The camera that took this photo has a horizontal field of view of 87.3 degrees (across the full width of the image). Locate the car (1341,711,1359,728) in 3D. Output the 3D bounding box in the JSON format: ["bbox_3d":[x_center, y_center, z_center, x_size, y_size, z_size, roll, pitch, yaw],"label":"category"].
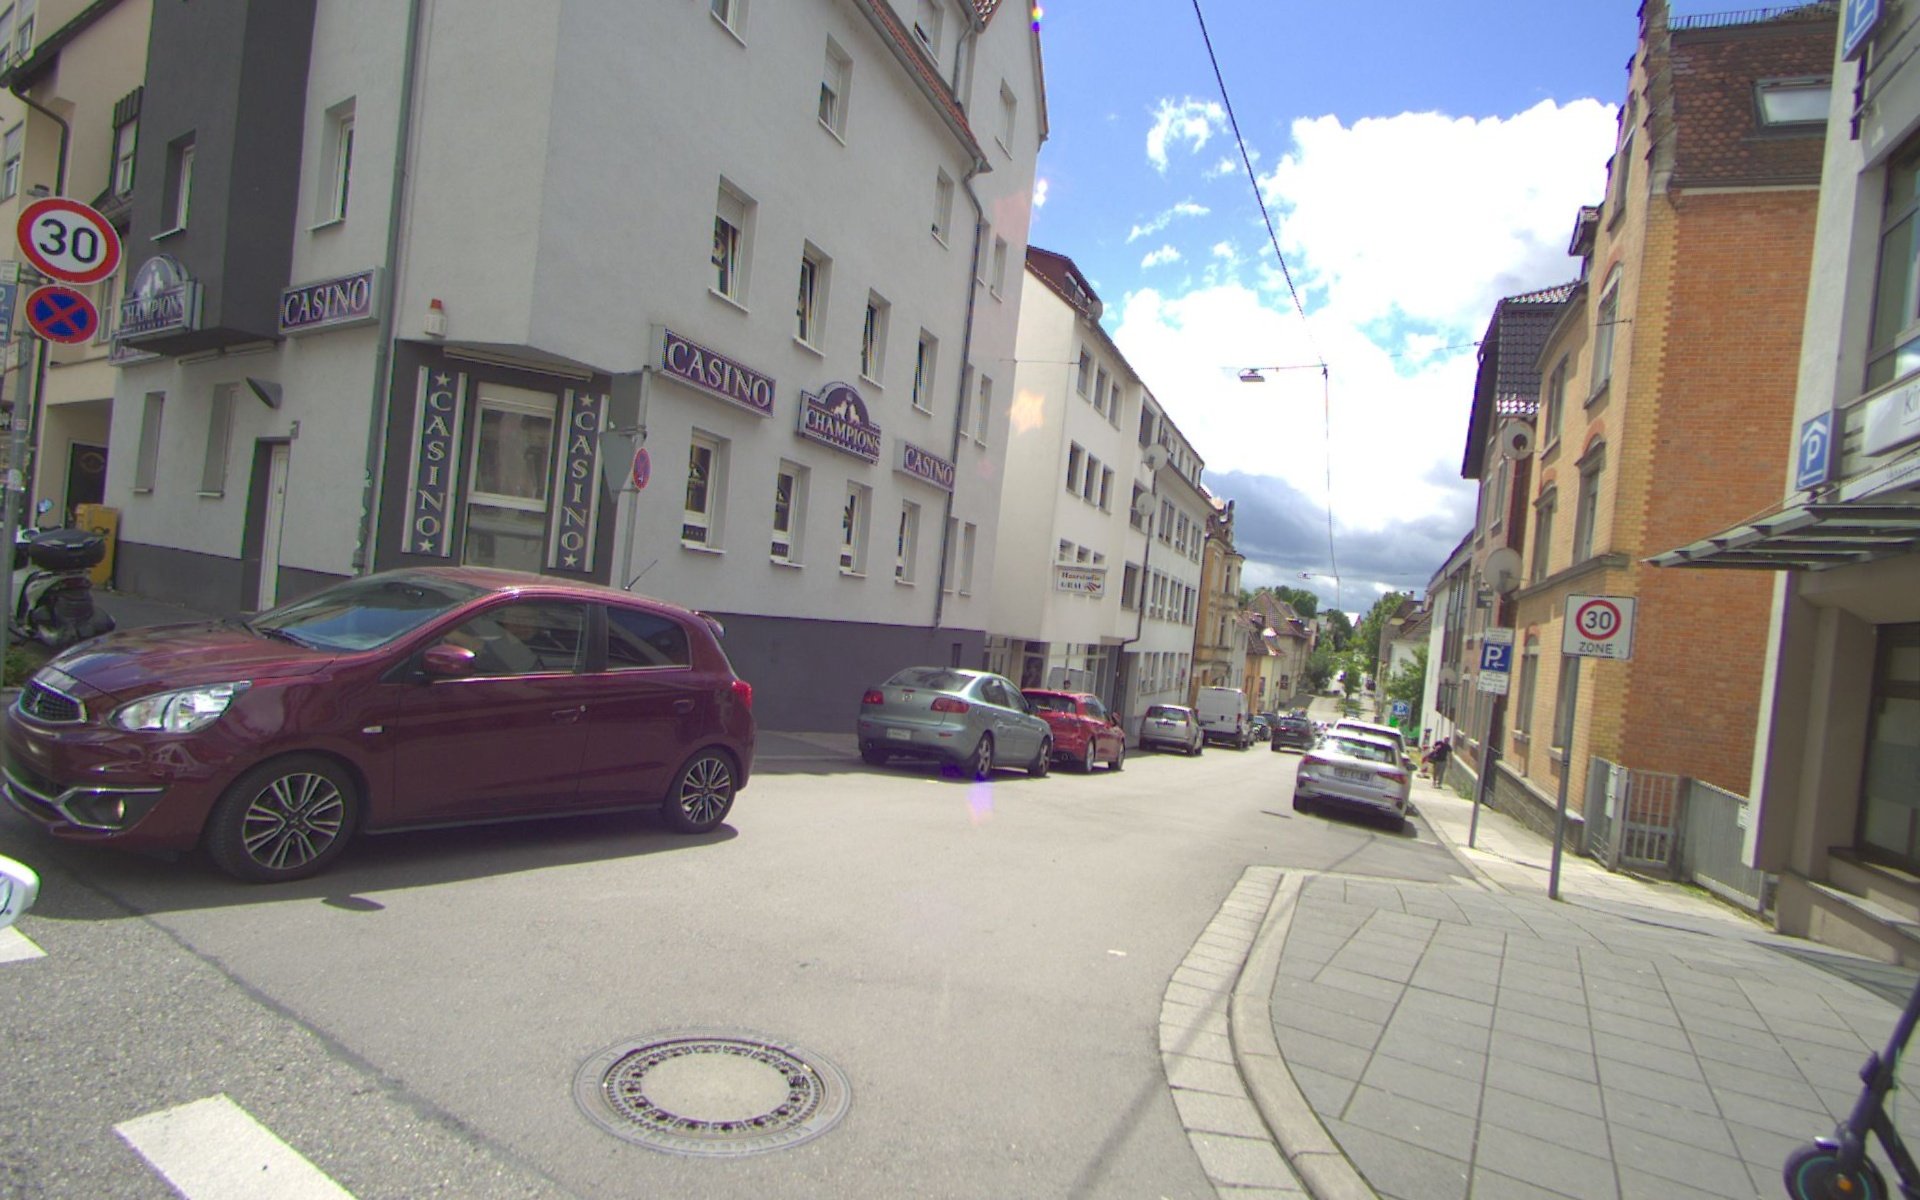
[{"bbox_3d":[48.242,14.807,124.525,1.815,1.553,4.409,8,-6,22],"label":"car"}]

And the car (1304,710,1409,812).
[{"bbox_3d":[9.007,3.658,22.950,1.815,1.771,4.409,8,-5,22],"label":"car"}]

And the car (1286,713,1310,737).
[{"bbox_3d":[36.217,13.423,107.702,2.029,2.094,4.493,7,-6,21],"label":"car"}]

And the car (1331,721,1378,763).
[{"bbox_3d":[18.980,6.881,48.472,1.815,1.553,4.409,8,-6,22],"label":"car"}]

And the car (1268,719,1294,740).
[{"bbox_3d":[27.437,11.109,86.007,1.815,1.412,3.848,7,-6,21],"label":"car"}]

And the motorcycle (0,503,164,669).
[{"bbox_3d":[-8.161,-0.169,9.088,2.337,1.274,0.660,6,-2,32],"label":"motorcycle"}]

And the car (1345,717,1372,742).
[{"bbox_3d":[31.853,10.390,80.465,1.815,1.553,4.409,8,-6,22],"label":"car"}]

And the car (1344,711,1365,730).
[{"bbox_3d":[41.352,12.649,105.580,1.815,1.553,4.409,8,-6,22],"label":"car"}]

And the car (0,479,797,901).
[{"bbox_3d":[-2.851,0.476,5.697,1.513,1.547,3.751,6,-3,34],"label":"car"}]

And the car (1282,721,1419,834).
[{"bbox_3d":[6.818,2.987,17.467,1.816,1.413,3.896,8,-4,24],"label":"car"}]

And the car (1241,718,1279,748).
[{"bbox_3d":[18.393,8.150,61.544,1.815,1.412,3.848,7,-6,21],"label":"car"}]

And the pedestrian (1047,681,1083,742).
[{"bbox_3d":[3.081,3.244,29.382,0.570,1.676,0.949,7,-2,23],"label":"pedestrian"}]

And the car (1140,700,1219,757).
[{"bbox_3d":[7.138,4.184,32.483,1.815,1.412,3.848,7,-6,21],"label":"car"}]

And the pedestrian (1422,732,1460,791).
[{"bbox_3d":[15.176,5.074,31.772,0.838,1.674,0.946,7,-2,23],"label":"pedestrian"}]

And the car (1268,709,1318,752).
[{"bbox_3d":[15.537,6.103,46.777,1.815,1.553,4.409,8,-6,22],"label":"car"}]

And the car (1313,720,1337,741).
[{"bbox_3d":[32.135,11.508,88.448,1.815,1.412,3.848,7,-6,21],"label":"car"}]

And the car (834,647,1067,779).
[{"bbox_3d":[0.029,1.712,14.520,1.816,1.412,3.900,6,-6,24],"label":"car"}]

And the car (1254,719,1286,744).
[{"bbox_3d":[21.869,9.290,70.895,1.815,1.412,3.848,7,-6,21],"label":"car"}]

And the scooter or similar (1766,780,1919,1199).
[{"bbox_3d":[3.166,1.274,2.841,1.228,1.295,0.431,6,-1,31],"label":"scooter or similar"}]

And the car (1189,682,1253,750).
[{"bbox_3d":[11.669,5.234,44.808,2.029,2.521,4.493,7,-6,21],"label":"car"}]

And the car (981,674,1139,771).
[{"bbox_3d":[2.030,2.403,19.248,1.816,1.412,3.847,6,-6,24],"label":"car"}]

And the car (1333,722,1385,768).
[{"bbox_3d":[17.421,6.381,43.990,1.815,1.553,4.409,8,-6,22],"label":"car"}]
